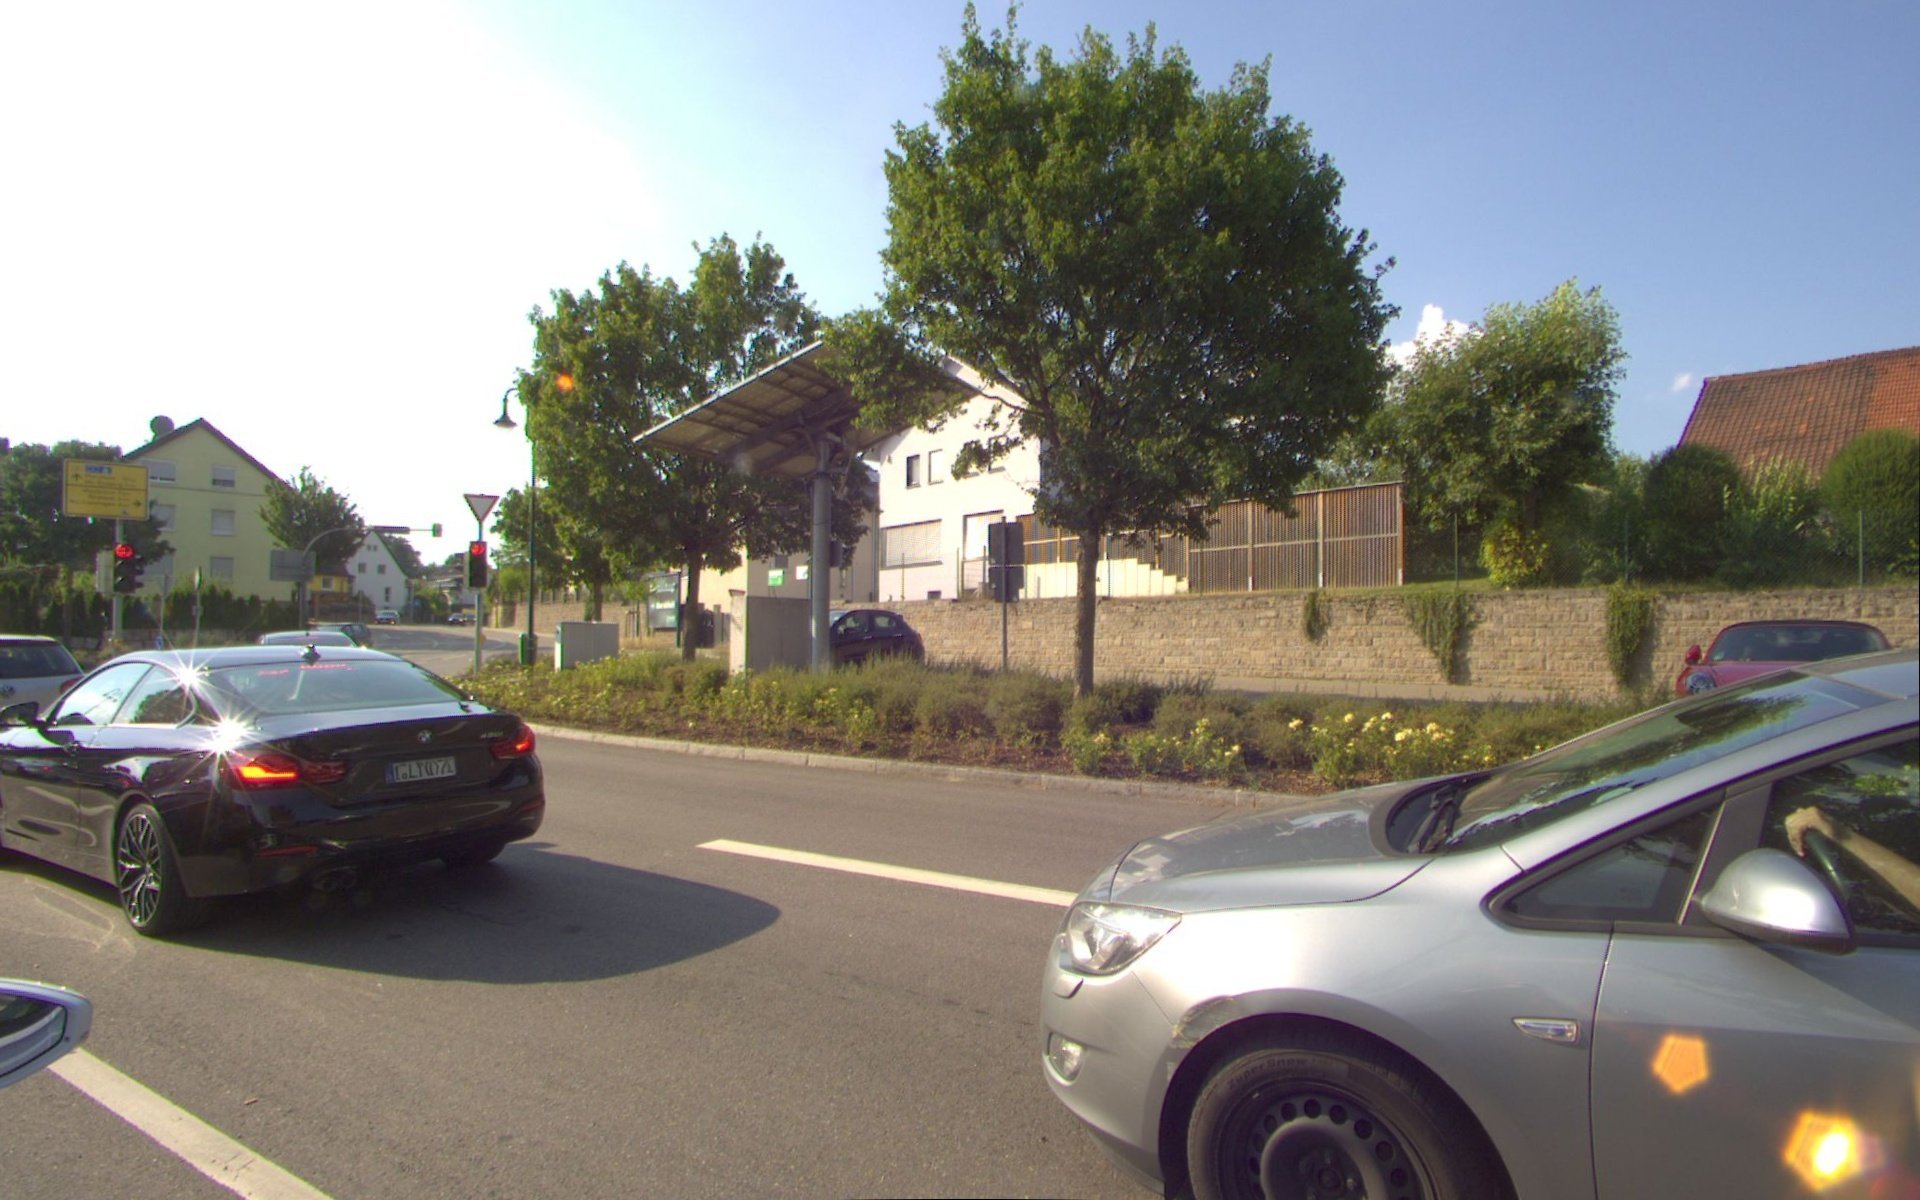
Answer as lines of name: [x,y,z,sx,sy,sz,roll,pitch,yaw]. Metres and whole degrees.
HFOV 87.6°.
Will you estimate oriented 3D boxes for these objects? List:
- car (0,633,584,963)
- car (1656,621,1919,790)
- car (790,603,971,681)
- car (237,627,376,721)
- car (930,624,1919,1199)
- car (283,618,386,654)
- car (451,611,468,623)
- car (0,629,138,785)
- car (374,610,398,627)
car: [-4.482,0.913,6.230,4.285,1.406,1.813,-1,-2,32]
car: [8.200,0.876,9.636,1.835,1.288,3.964,-1,-2,45]
car: [-1.768,0.955,23.107,1.835,1.628,3.964,-1,-2,45]
car: [-11.767,1.217,17.893,1.667,1.454,4.553,1,-2,-38]
car: [2.115,0.789,2.230,4.107,1.460,1.741,-1,-2,32]
car: [-28.587,1.603,45.914,1.758,1.527,4.068,0,-1,10]
car: [-69.353,2.403,138.784,1.753,1.600,3.989,1,-2,-22]
car: [-10.713,1.044,10.727,4.287,1.465,1.812,-1,-2,34]
car: [-52.478,1.684,91.538,1.690,1.261,3.980,1,2,-27]
